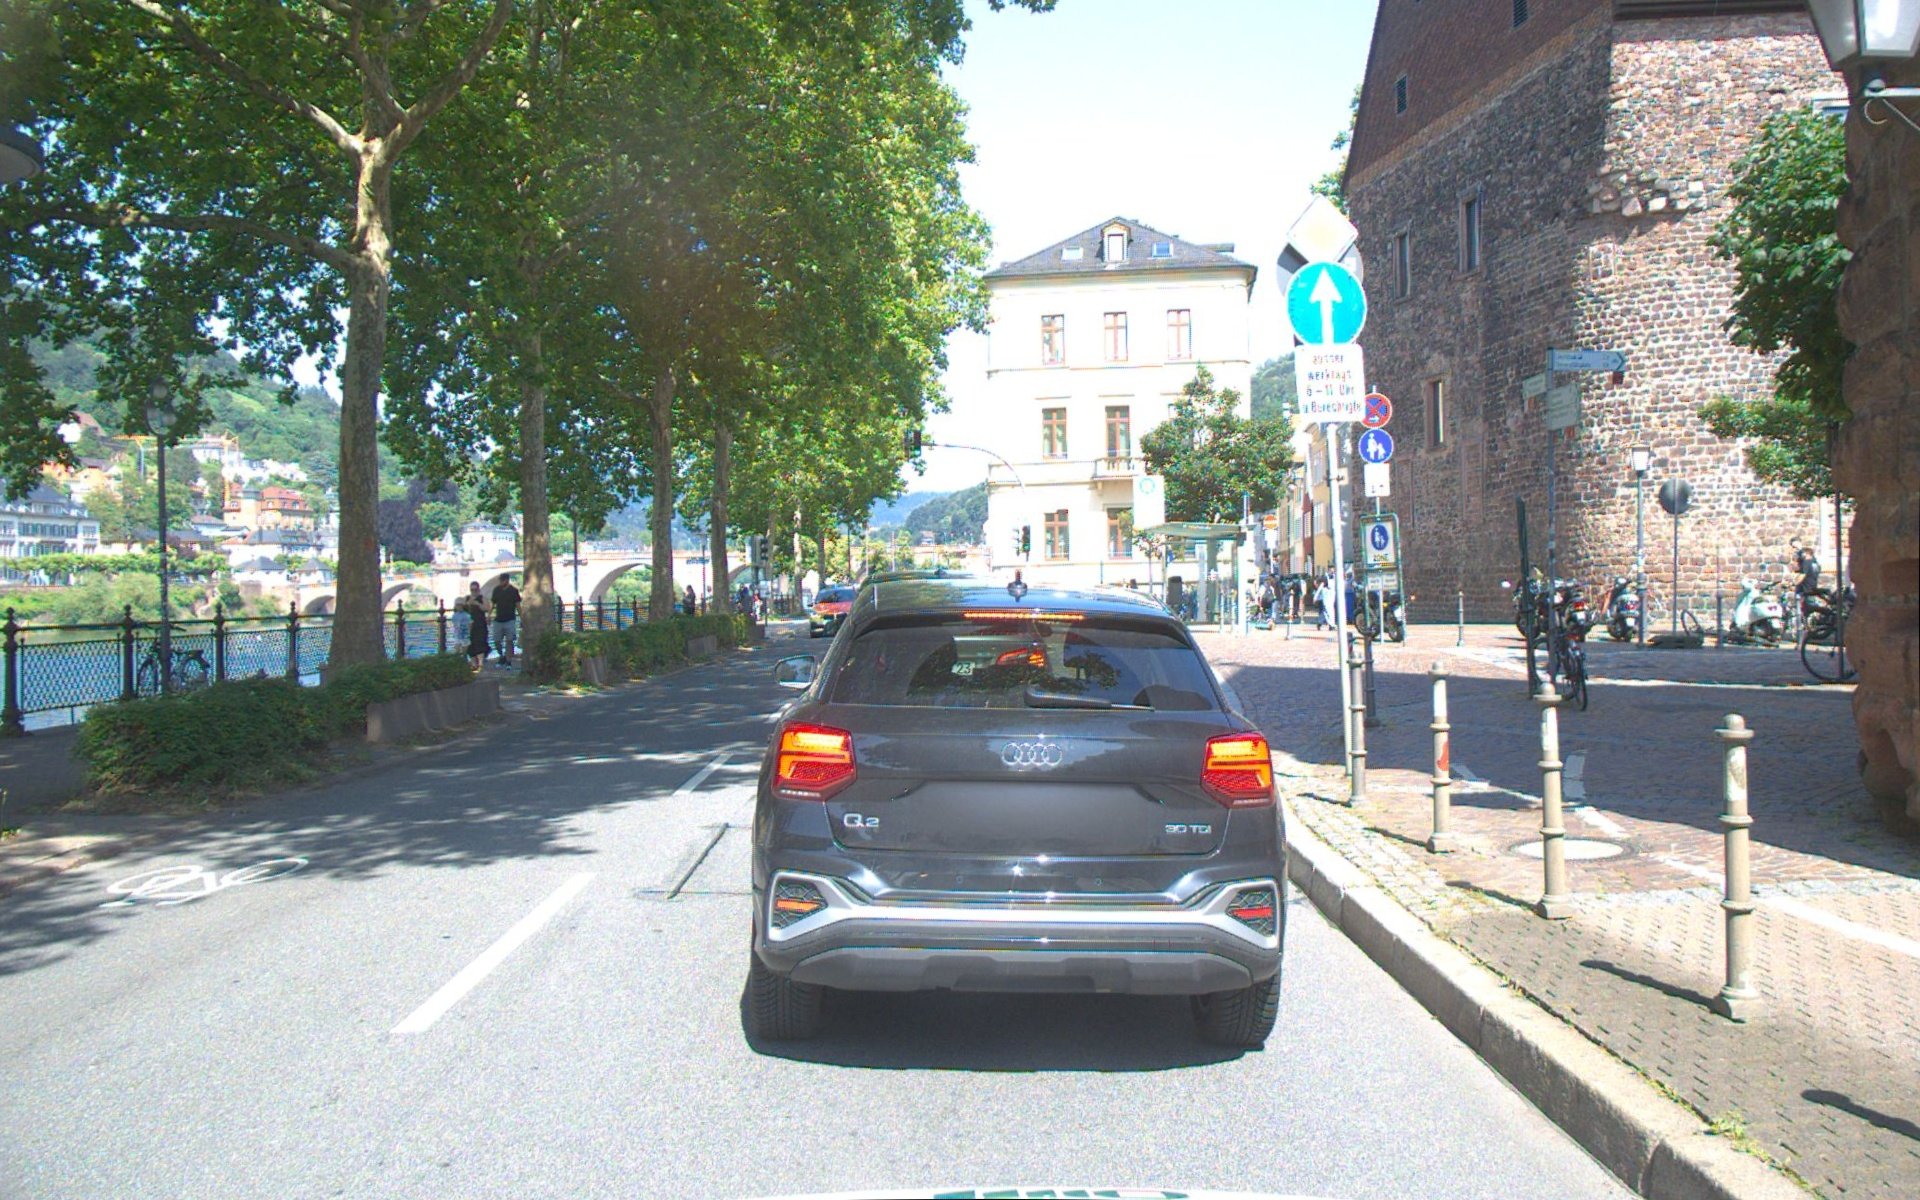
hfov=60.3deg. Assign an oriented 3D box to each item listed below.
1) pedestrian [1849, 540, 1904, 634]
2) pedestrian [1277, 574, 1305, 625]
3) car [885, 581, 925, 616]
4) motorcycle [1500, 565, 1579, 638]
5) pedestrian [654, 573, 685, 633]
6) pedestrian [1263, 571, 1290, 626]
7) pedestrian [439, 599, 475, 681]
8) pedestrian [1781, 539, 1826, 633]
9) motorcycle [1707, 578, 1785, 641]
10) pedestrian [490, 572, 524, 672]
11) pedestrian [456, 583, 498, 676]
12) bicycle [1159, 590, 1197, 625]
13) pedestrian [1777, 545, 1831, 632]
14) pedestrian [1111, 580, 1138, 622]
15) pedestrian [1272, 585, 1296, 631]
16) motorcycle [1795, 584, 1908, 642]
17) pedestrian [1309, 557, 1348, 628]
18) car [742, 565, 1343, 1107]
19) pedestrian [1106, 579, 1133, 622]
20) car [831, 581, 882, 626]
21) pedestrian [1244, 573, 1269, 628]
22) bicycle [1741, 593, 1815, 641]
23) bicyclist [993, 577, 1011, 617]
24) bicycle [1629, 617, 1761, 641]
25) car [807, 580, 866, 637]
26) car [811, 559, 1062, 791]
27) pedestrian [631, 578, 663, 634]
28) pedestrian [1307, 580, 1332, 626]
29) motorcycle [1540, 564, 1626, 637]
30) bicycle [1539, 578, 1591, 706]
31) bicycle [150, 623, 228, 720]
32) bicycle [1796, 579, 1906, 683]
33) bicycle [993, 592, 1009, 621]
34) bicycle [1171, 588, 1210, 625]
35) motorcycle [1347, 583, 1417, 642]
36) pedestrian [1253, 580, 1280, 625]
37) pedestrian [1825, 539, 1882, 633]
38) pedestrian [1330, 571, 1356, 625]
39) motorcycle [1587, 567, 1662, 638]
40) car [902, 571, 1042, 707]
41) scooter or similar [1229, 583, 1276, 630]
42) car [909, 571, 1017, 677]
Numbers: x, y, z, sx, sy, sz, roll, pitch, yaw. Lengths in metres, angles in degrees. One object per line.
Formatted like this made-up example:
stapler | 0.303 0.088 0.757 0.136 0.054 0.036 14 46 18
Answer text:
pedestrian | 19.212 -0.268 34.674 0.663 1.954 0.810 1 -1 -38
pedestrian | 13.329 -0.022 66.580 0.921 2.049 0.807 1 -1 -2
car | -2.976 -0.089 90.443 1.952 1.838 4.000 1 0 1
motorcycle | 10.557 0.036 30.197 0.642 1.288 2.199 0 0 -1
pedestrian | -10.001 0.094 56.931 0.891 2.049 0.586 1 -1 3
pedestrian | 11.353 -0.051 59.337 0.733 1.923 0.751 -2 0 27
pedestrian | -8.615 0.683 28.349 0.469 1.386 0.417 0 0 3
pedestrian | 18.632 -0.297 36.540 0.858 2.049 0.732 1 -1 26
motorcycle | 14.044 0.168 29.606 0.496 1.092 1.839 1 0 -1
pedestrian | -8.715 0.419 31.858 0.523 1.920 0.436 0 0 -1
pedestrian | -9.046 0.537 30.996 0.589 1.715 0.583 -1 0 -2
bicycle | 6.555 0.217 49.717 1.166 1.033 0.178 1 -1 -20
pedestrian | 18.166 -0.246 35.607 0.646 1.834 0.837 0 0 -33
pedestrian | 4.799 0.031 48.230 0.651 1.233 0.640 1 -1 -7
pedestrian | 14.572 0.364 74.409 0.925 2.049 0.807 1 -1 -1
motorcycle | 16.864 0.242 31.311 1.826 1.072 0.480 1 -1 7
pedestrian | 8.951 -0.176 40.172 0.790 1.691 0.656 -1 0 22
car | 0.214 0.663 6.590 1.707 1.535 3.646 1 1 -1
pedestrian | 4.720 0.008 48.963 0.651 1.253 0.640 1 -1 -7
car | -4.223 0.120 67.998 1.733 1.689 4.000 -3 0 0
pedestrian | 7.634 0.014 42.624 0.546 1.409 0.588 1 -1 1
bicycle | 15.128 0.295 30.635 0.346 0.835 1.926 1 1 -2
bicyclist | 1.576 -0.109 62.602 0.593 1.475 0.590 1 -1 -6
bicycle | 12.299 0.485 27.740 1.887 0.388 0.918 0 -1 14
car | -4.049 0.256 54.677 1.639 1.689 4.222 -3 0 -1
car | -0.193 0.521 13.457 1.756 1.623 3.398 1 0 -1
pedestrian | -10.469 0.215 55.301 0.891 1.843 0.586 1 -2 3
pedestrian | 13.016 0.098 59.930 0.677 1.640 0.891 -2 0 23
motorcycle | 11.346 0.015 30.208 0.661 1.257 2.312 1 0 -1
bicycle | 6.160 0.398 16.876 0.189 1.225 1.771 0 1 10
bicycle | -9.533 0.866 20.476 0.352 1.110 1.295 2 0 -2
bicycle | 10.631 0.345 19.791 0.437 1.182 1.731 -1 1 3
bicycle | 1.552 0.246 62.632 0.428 1.105 1.675 1 0 -5
bicycle | 6.854 0.193 49.110 1.184 1.053 0.178 1 -1 -20
motorcycle | 7.694 0.211 30.265 0.555 1.030 2.489 -1 1 -2
pedestrian | 10.254 0.094 55.375 0.626 1.469 0.797 -2 0 -7
pedestrian | 18.490 -0.287 34.229 0.661 1.917 0.813 1 -1 -30
pedestrian | 14.728 -0.088 63.619 0.822 2.049 0.738 1 -1 -1
motorcycle | 12.202 0.051 30.436 0.535 1.257 2.030 1 0 -1
car | 0.119 0.459 21.743 1.676 1.637 3.654 0 0 -1
scooter or similar | 6.993 0.158 39.532 1.067 1.084 0.323 1 -1 -3
car | 0.022 0.379 29.109 1.758 1.711 3.999 1 0 -1
